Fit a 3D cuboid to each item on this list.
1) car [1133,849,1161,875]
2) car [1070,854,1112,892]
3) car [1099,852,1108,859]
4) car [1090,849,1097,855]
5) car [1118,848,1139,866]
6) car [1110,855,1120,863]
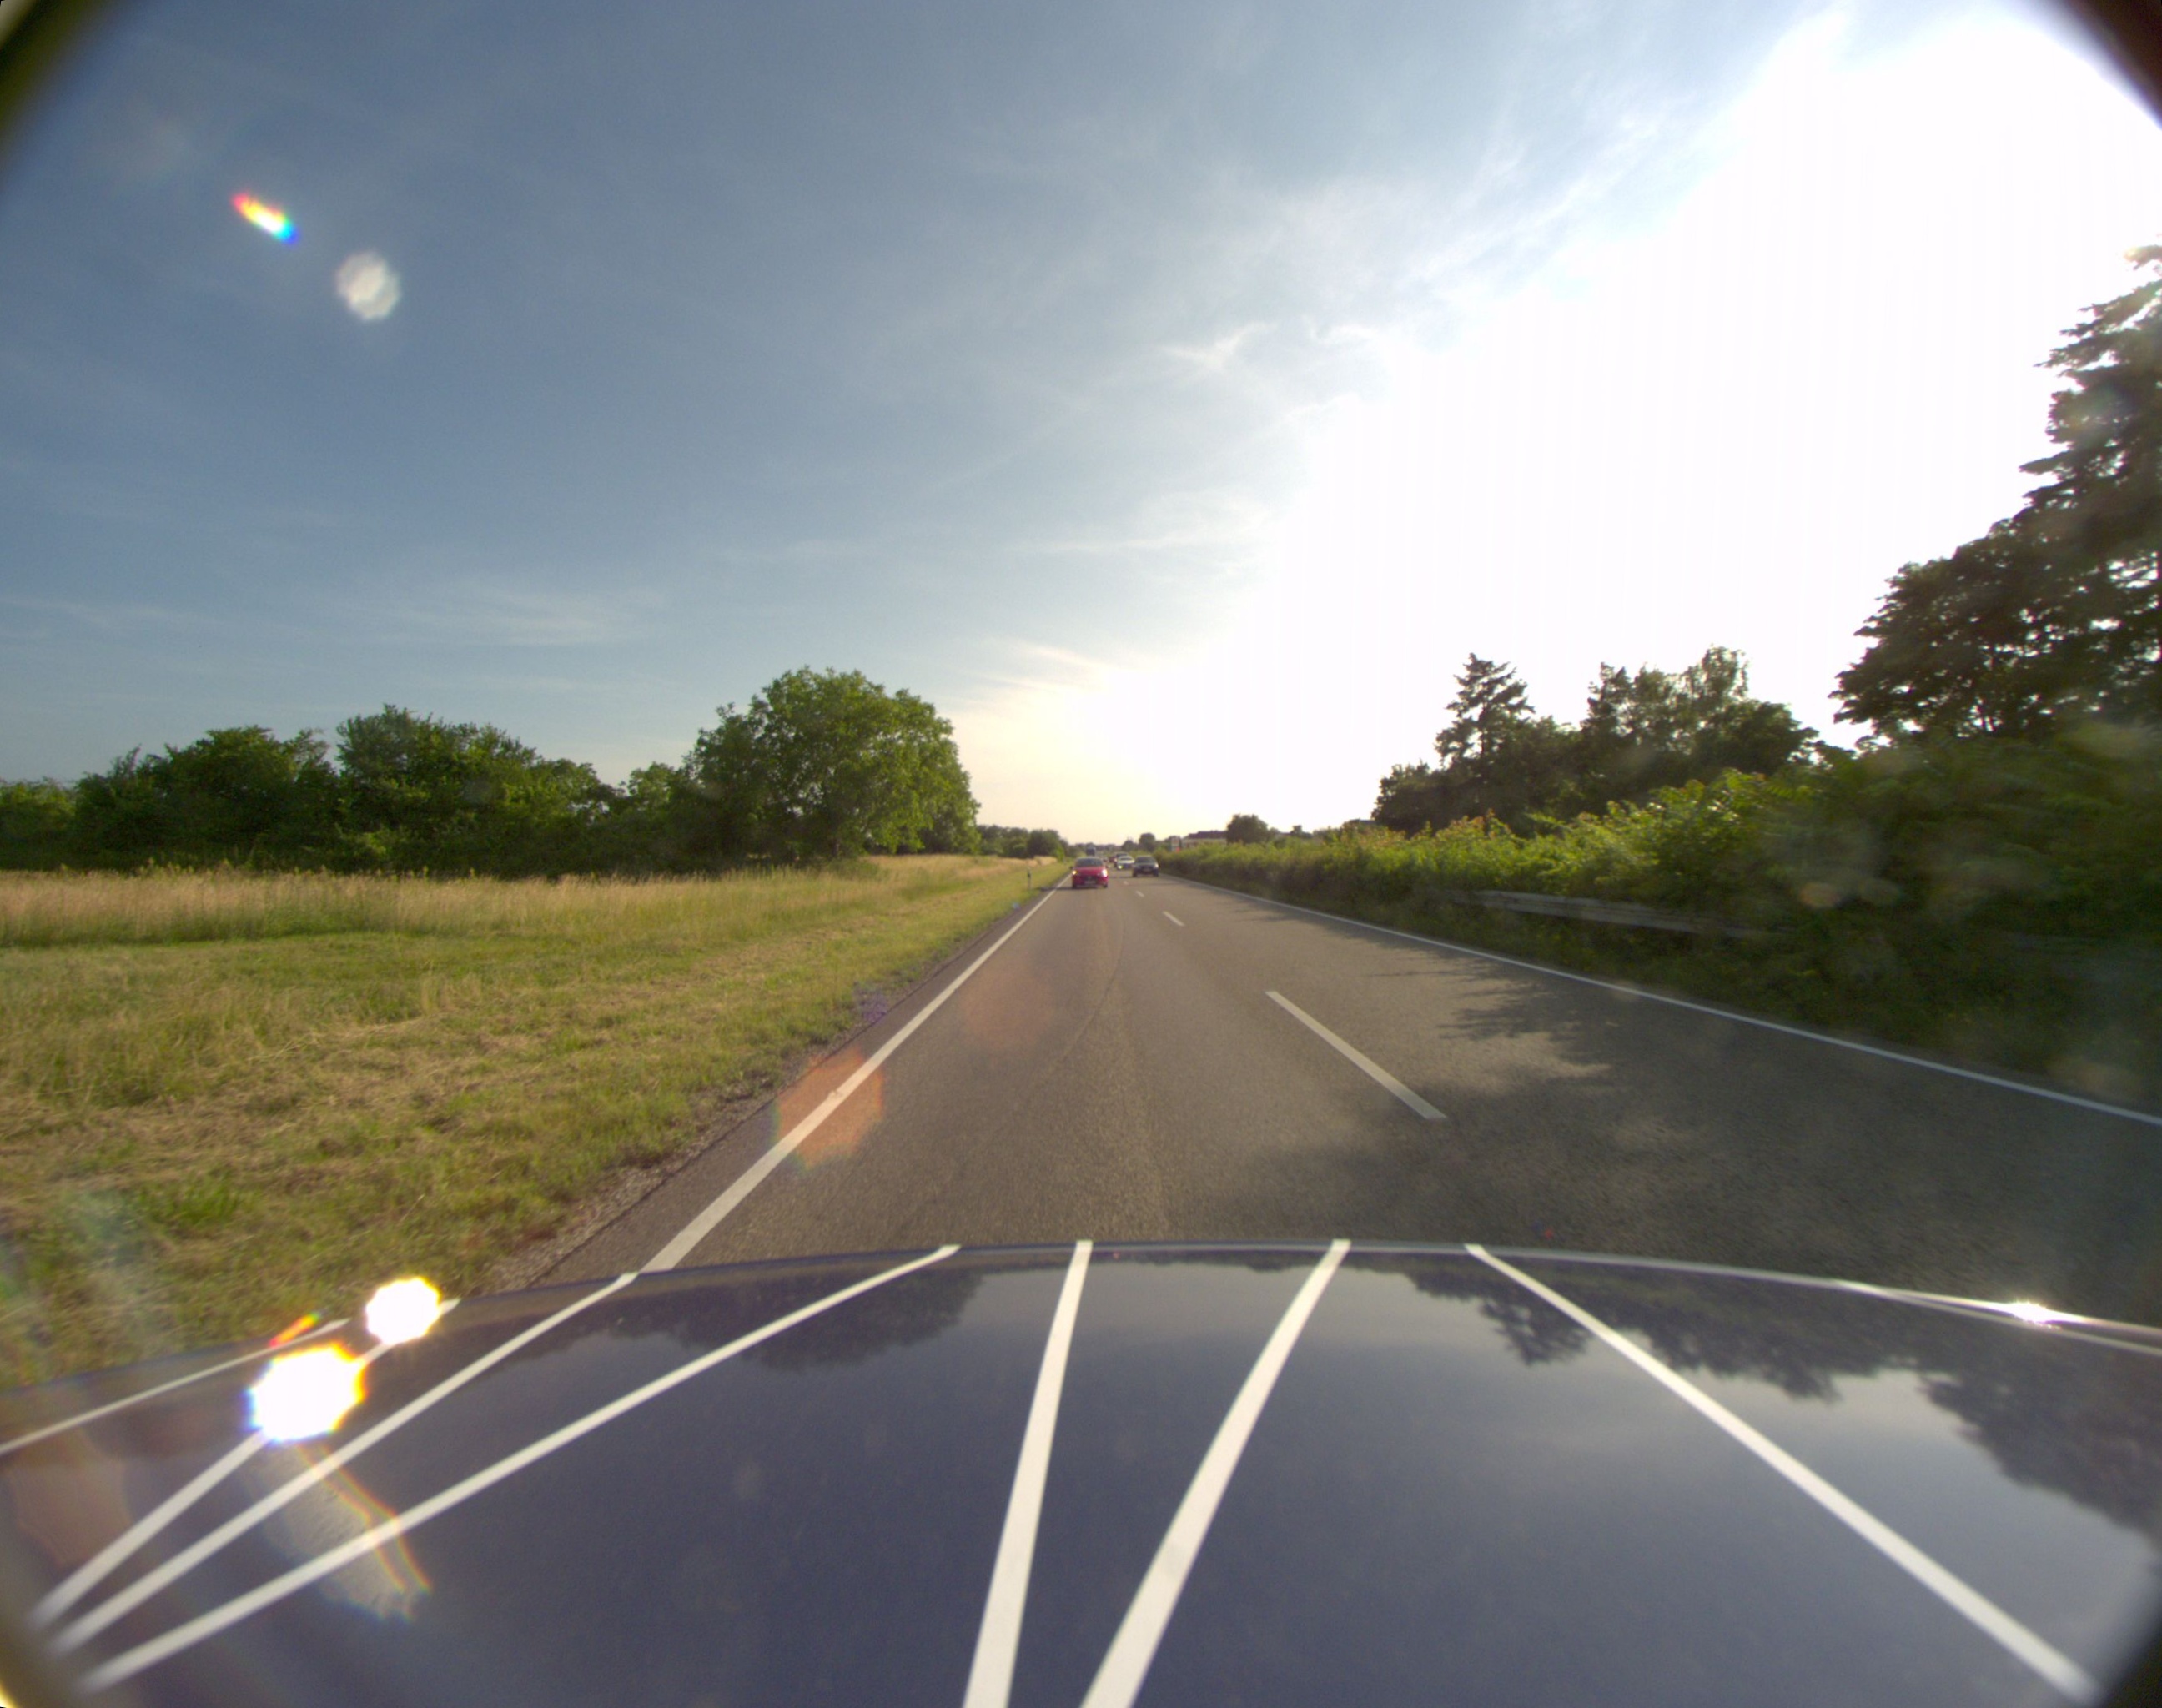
[{"bbox_3d":[4.610,0.554,53.663,1.693,1.695,4.000,-1,1,2],"label":"car"},{"bbox_3d":[0.523,0.822,35.217,1.821,1.565,4.000,-1,0,2],"label":"car"},{"bbox_3d":[5.218,0.344,178.654,1.998,1.412,4.000,-1,0,2],"label":"car"},{"bbox_3d":[3.513,-0.577,213.488,1.998,1.412,4.000,-1,0,2],"label":"car"},{"bbox_3d":[4.989,0.293,80.257,1.998,1.762,4.000,-1,1,2],"label":"car"},{"bbox_3d":[6.629,1.024,148.965,1.998,1.412,4.000,-1,0,2],"label":"car"}]
